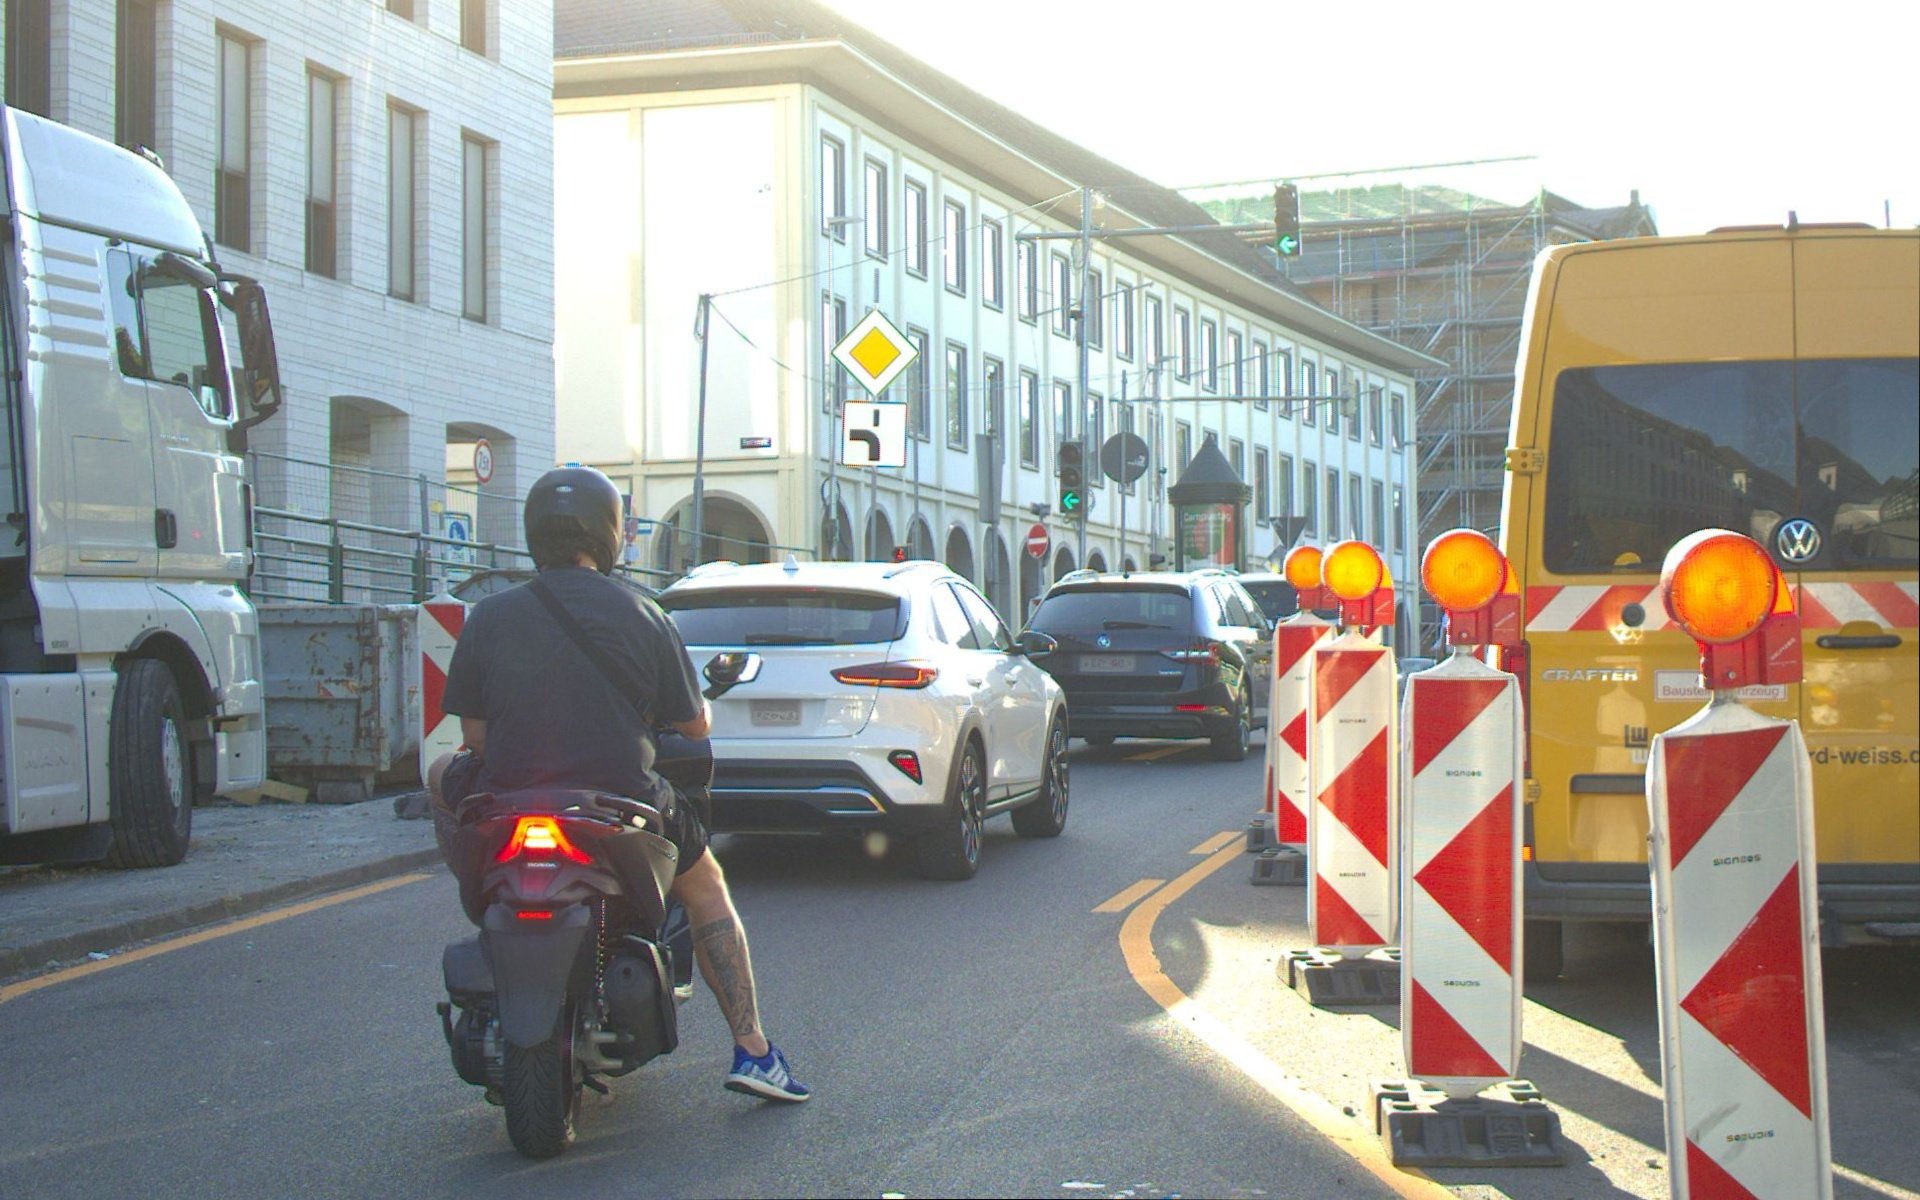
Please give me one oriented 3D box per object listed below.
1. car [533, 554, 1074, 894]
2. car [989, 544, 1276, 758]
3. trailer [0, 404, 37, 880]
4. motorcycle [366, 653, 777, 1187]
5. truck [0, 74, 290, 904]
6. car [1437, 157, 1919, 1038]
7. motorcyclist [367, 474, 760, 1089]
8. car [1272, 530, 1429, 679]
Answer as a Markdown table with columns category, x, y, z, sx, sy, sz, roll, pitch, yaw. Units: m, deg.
| category | x | y | z | sx | sy | sz | roll | pitch | yaw |
| --- | --- | --- | --- | --- | --- | --- | --- | --- | --- |
| car | -0.640 | 0.513 | 17.144 | 1.860 | 1.467 | 3.998 | 1 | 1 | 10 |
| car | 1.447 | 0.420 | 27.279 | 1.774 | 1.545 | 4.104 | -1 | -1 | 10 |
| trailer | -6.054 | -0.516 | 10.463 | 2.643 | 3.657 | 8.745 | -5 | 0 | 9 |
| motorcycle | -0.981 | 0.772 | 9.370 | 0.906 | 1.179 | 2.579 | 0 | 1 | -2 |
| truck | -5.272 | -0.423 | 14.606 | 2.580 | 3.478 | 5.813 | -3 | 0 | 11 |
| car | 3.142 | -0.031 | 13.701 | 2.113 | 2.616 | 6.984 | -1 | 0 | 11 |
| motorcyclist | -1.042 | 0.451 | 9.344 | 0.954 | 1.554 | 1.239 | 0 | 1 | -2 |
| car | 4.828 | 0.023 | 42.197 | 1.804 | 1.715 | 4.162 | -1 | 1 | 7 |
